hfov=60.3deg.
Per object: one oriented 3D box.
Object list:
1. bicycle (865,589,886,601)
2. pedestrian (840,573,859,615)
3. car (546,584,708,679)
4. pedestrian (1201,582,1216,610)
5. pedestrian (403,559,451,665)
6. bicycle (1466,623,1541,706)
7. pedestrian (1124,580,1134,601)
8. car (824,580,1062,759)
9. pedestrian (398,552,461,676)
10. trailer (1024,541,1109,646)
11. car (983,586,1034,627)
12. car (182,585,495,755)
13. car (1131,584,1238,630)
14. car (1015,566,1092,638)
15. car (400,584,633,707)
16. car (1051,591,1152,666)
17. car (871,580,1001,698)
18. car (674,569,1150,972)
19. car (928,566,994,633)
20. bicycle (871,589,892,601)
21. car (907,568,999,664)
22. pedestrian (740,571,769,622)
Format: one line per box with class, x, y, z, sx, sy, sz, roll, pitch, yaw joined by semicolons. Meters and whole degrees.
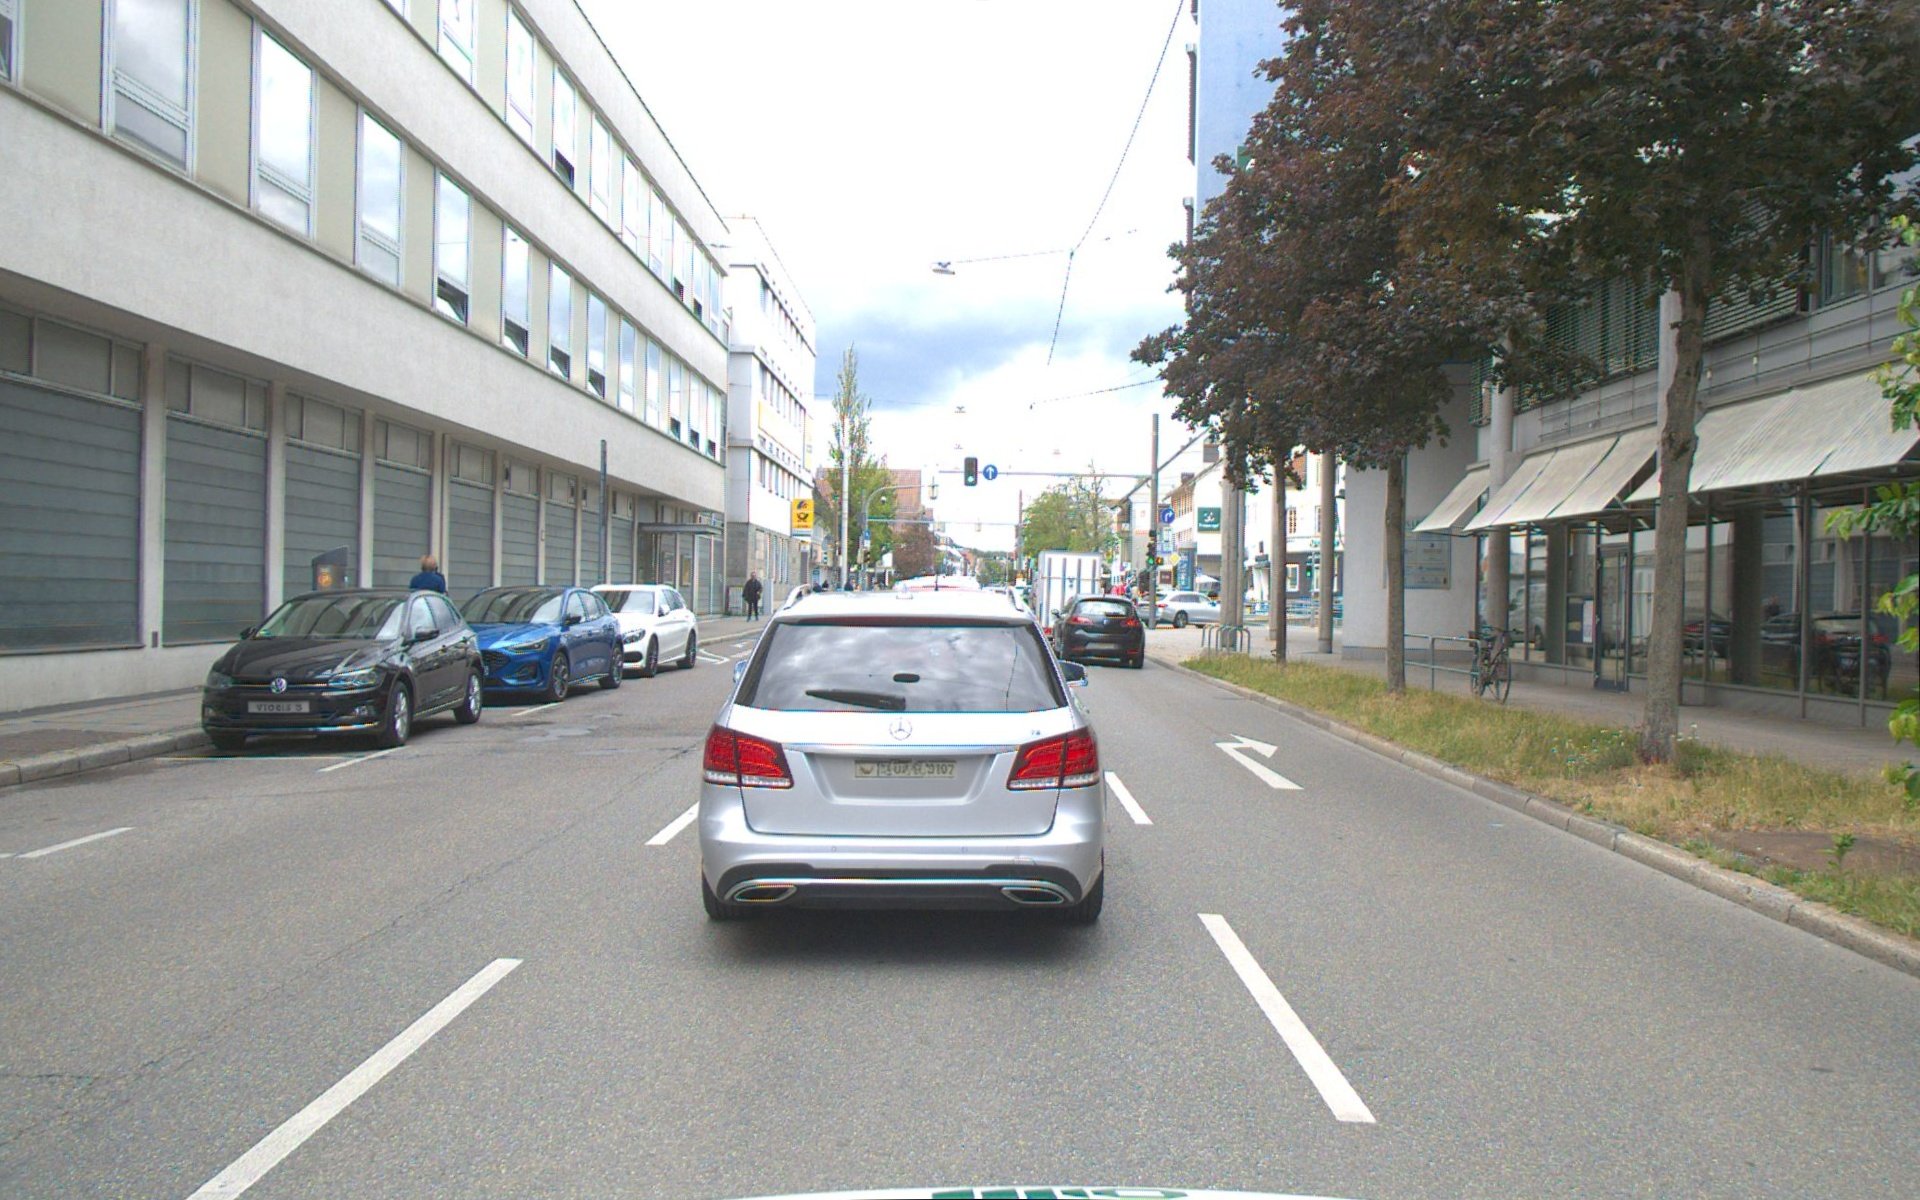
bicycle;-7.628;-0.450;149.281;1.902;1.047;0.529;2;0;-9
pedestrian;-4.668;-0.247;69.916;0.634;1.748;0.783;2;0;8
car;-5.535;0.464;28.066;1.635;1.459;4.554;-1;1;2
pedestrian;15.413;-0.256;102.562;0.636;1.748;0.702;1;0;35
pedestrian;-8.907;0.200;27.652;0.577;1.748;0.649;1;0;-2
bicycle;7.882;0.911;24.063;0.353;1.105;2.027;2;0;-1
pedestrian;13.464;-0.756;131.671;0.567;1.695;0.650;2;0;-6
car;-0.037;0.594;16.500;1.697;1.534;4.003;1;0;9
pedestrian;-7.676;0.192;23.955;0.577;1.748;1.055;1;0;-1
trailer;2.884;-0.196;45.561;1.840;2.658;4.322;3;0;-1
car;1.802;0.219;62.694;1.699;1.435;3.999;1;1;-1
car;-5.947;0.586;16.321;1.681;1.450;3.869;-1;1;-1
car;9.120;0.300;66.971;4.520;1.633;1.714;3;0;-42
car;2.776;0.028;50.172;1.840;1.979;4.905;3;0;-1
car;-5.765;0.526;22.044;1.777;1.450;4.266;-1;1;2
car;2.909;0.551;34.721;1.699;1.435;3.999;1;1;-1
car;-0.355;0.497;23.774;1.699;1.534;3.999;1;1;-1
car;-0.225;0.636;8.431;1.808;1.534;4.170;1;1;-1
car;-0.005;-0.040;47.699;1.791;1.816;3.999;1;1;-1
bicycle;-7.277;-0.462;153.262;1.902;1.047;0.529;2;0;-9
car;-0.173;0.286;33.084;1.699;1.789;3.999;1;0;-1
pedestrian;-7.215;-0.142;58.150;0.844;1.748;1.031;2;0;-1
